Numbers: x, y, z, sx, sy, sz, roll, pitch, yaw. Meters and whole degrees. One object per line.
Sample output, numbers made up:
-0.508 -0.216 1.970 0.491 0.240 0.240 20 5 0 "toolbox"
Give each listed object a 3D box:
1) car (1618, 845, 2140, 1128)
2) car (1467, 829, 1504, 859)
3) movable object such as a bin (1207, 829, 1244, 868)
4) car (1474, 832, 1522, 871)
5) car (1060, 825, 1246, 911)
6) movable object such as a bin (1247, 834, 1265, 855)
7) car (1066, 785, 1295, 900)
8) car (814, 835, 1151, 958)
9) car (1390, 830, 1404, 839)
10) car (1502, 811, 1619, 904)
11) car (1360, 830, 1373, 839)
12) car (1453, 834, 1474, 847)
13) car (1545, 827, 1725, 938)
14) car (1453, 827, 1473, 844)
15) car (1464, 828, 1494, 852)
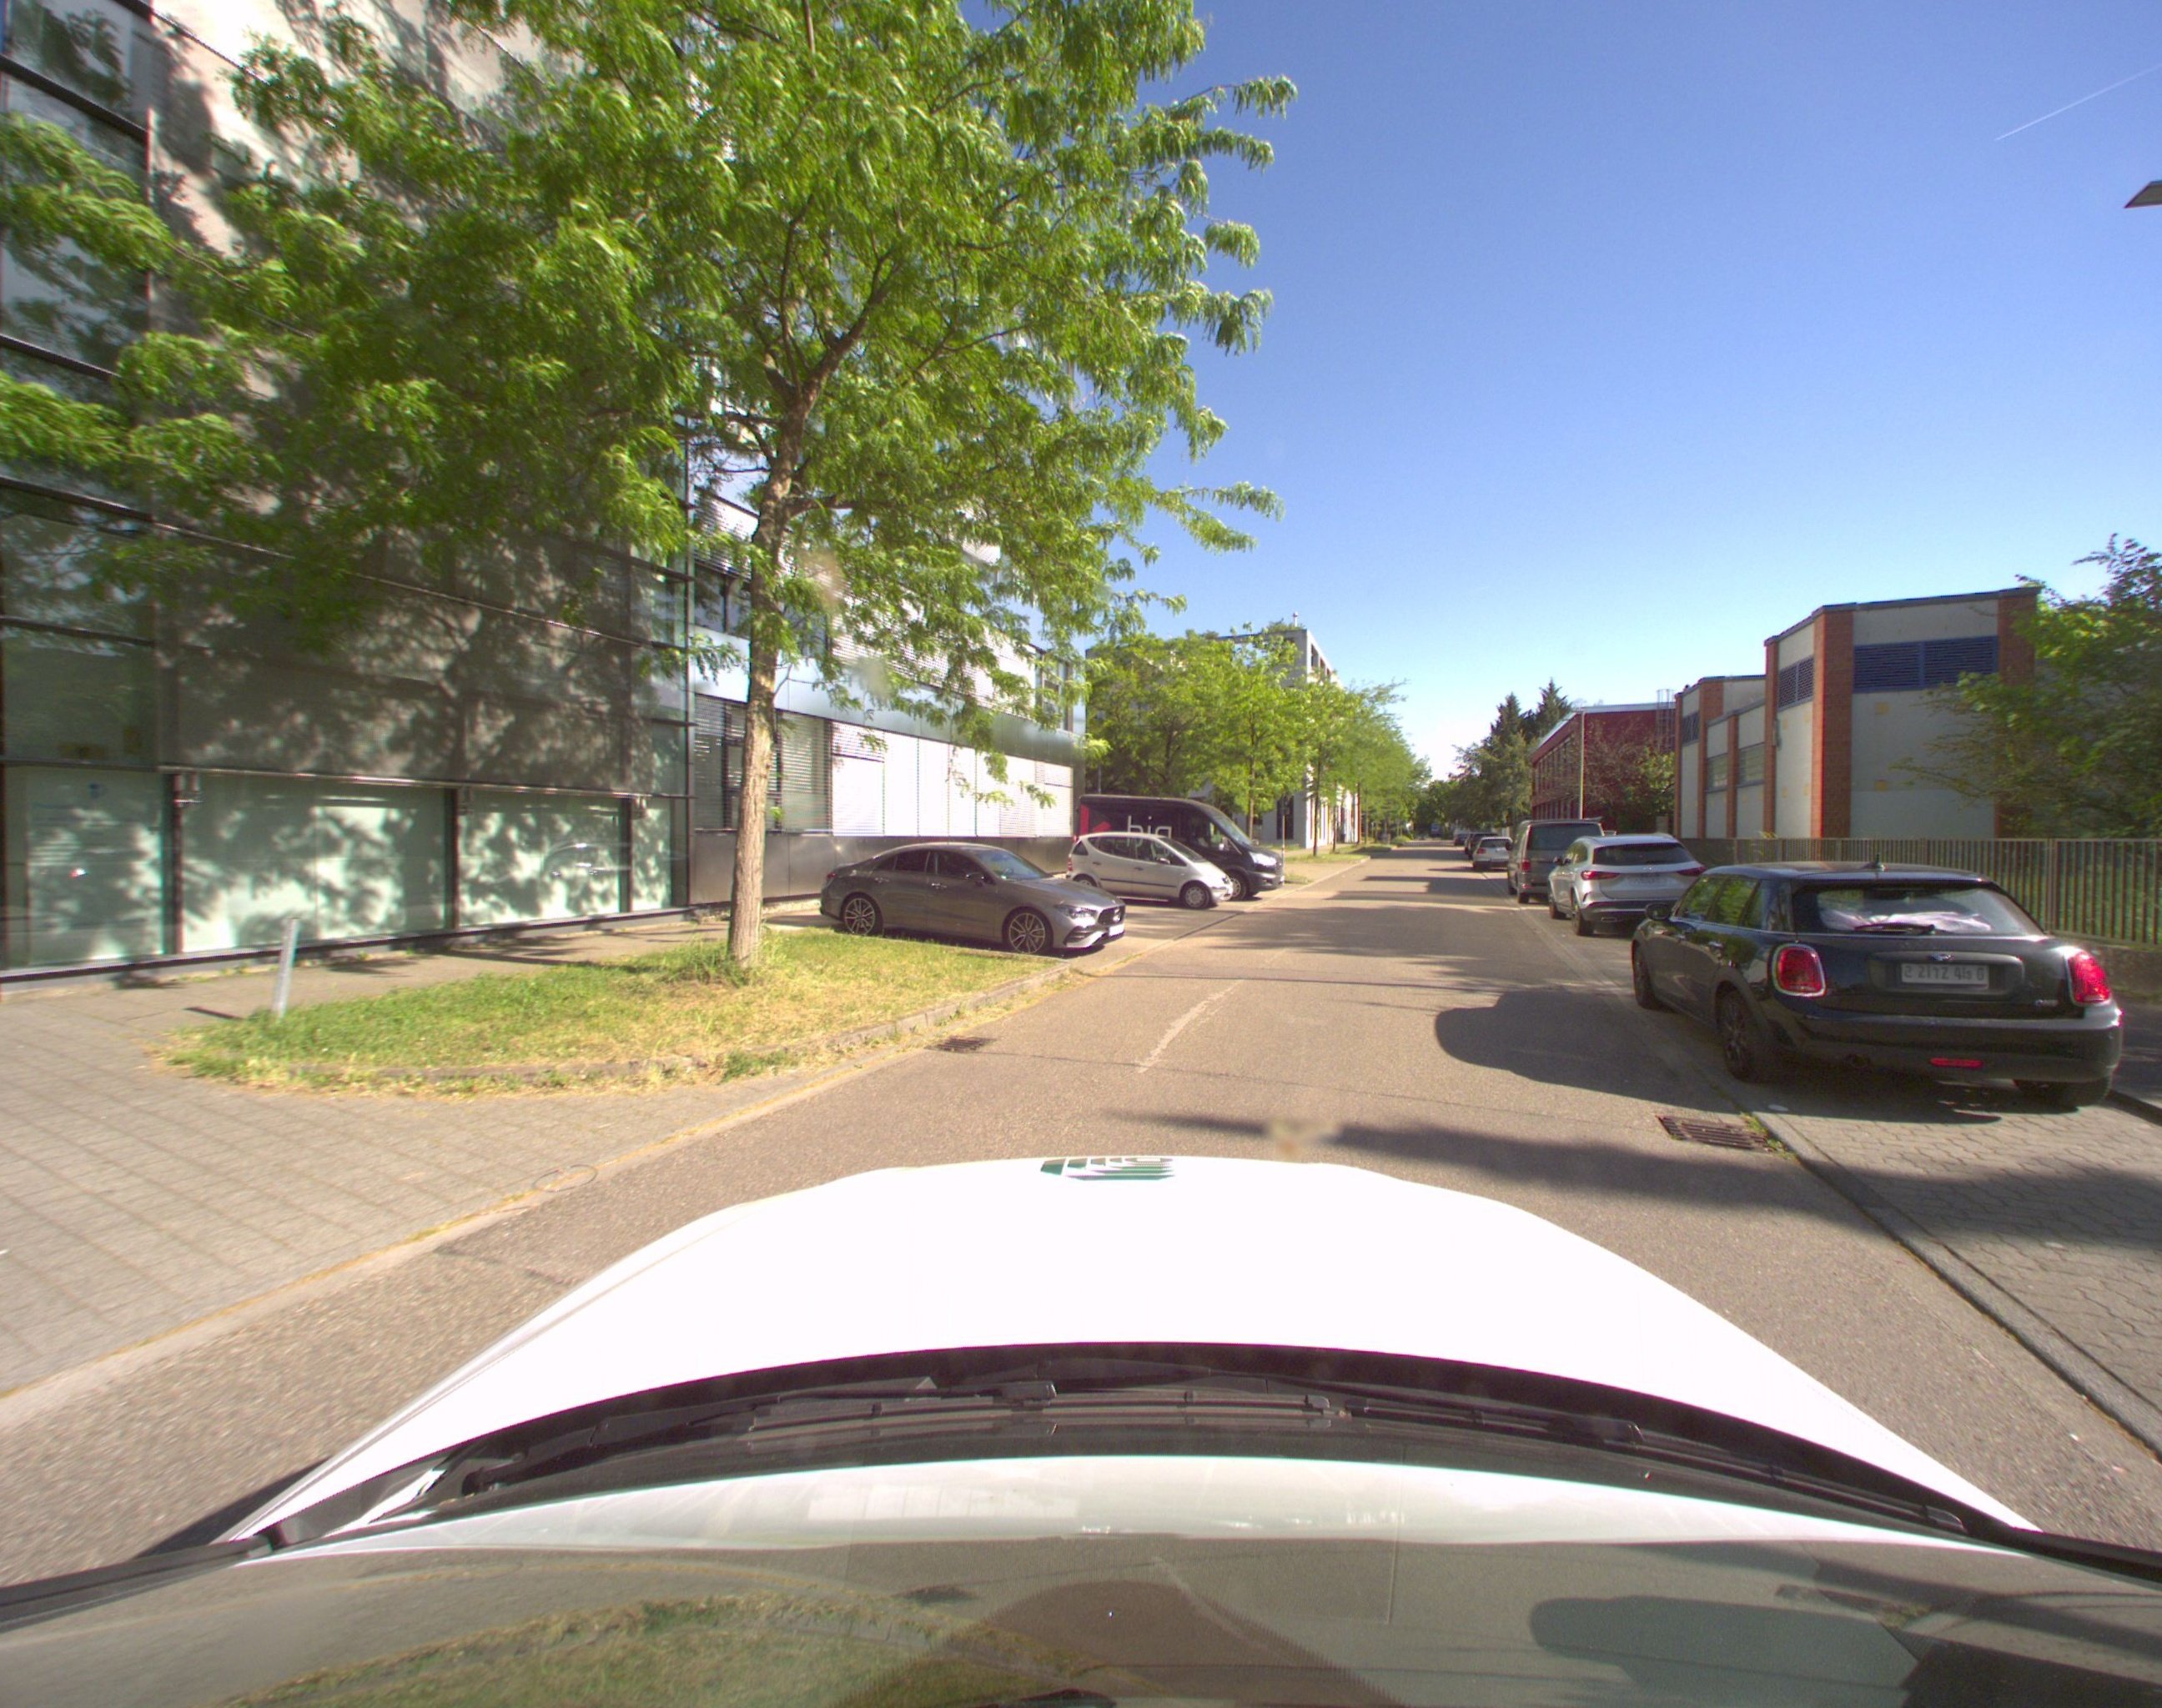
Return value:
5.596 0.698 6.380 1.637 1.472 3.785 -1 1 23 "car"
24.129 -0.638 48.651 1.821 1.633 4.226 1 2 25 "car"
5.355 -0.223 30.224 1.287 1.413 1.230 0 2 6 "movable object such as a bin"
17.916 -0.148 35.102 1.645 1.561 3.957 1 2 25 "car"
1.676 0.253 18.762 3.799 1.644 1.902 4 2 22 "car"
10.601 -0.584 49.398 0.657 1.181 1.946 1 2 24 "movable object such as a bin"
2.579 -0.378 21.249 5.407 2.622 2.244 3 2 23 "car"
-1.455 0.493 11.947 4.495 1.350 1.903 3 2 23 "car"
50.895 -3.177 131.156 1.976 1.458 3.813 1 1 21 "car"
11.755 0.049 20.273 1.926 2.022 4.853 -1 1 24 "car"
46.575 -3.172 132.956 1.889 1.341 3.813 1 2 21 "car"
41.675 -1.488 88.865 1.976 1.442 4.023 1 1 24 "car"
9.402 0.392 14.194 1.809 1.629 4.318 -1 1 24 "car"
44.179 -2.177 94.210 1.975 1.834 4.023 -3 1 24 "car"
28.431 -1.010 58.289 1.838 1.648 4.023 0 2 24 "car"
